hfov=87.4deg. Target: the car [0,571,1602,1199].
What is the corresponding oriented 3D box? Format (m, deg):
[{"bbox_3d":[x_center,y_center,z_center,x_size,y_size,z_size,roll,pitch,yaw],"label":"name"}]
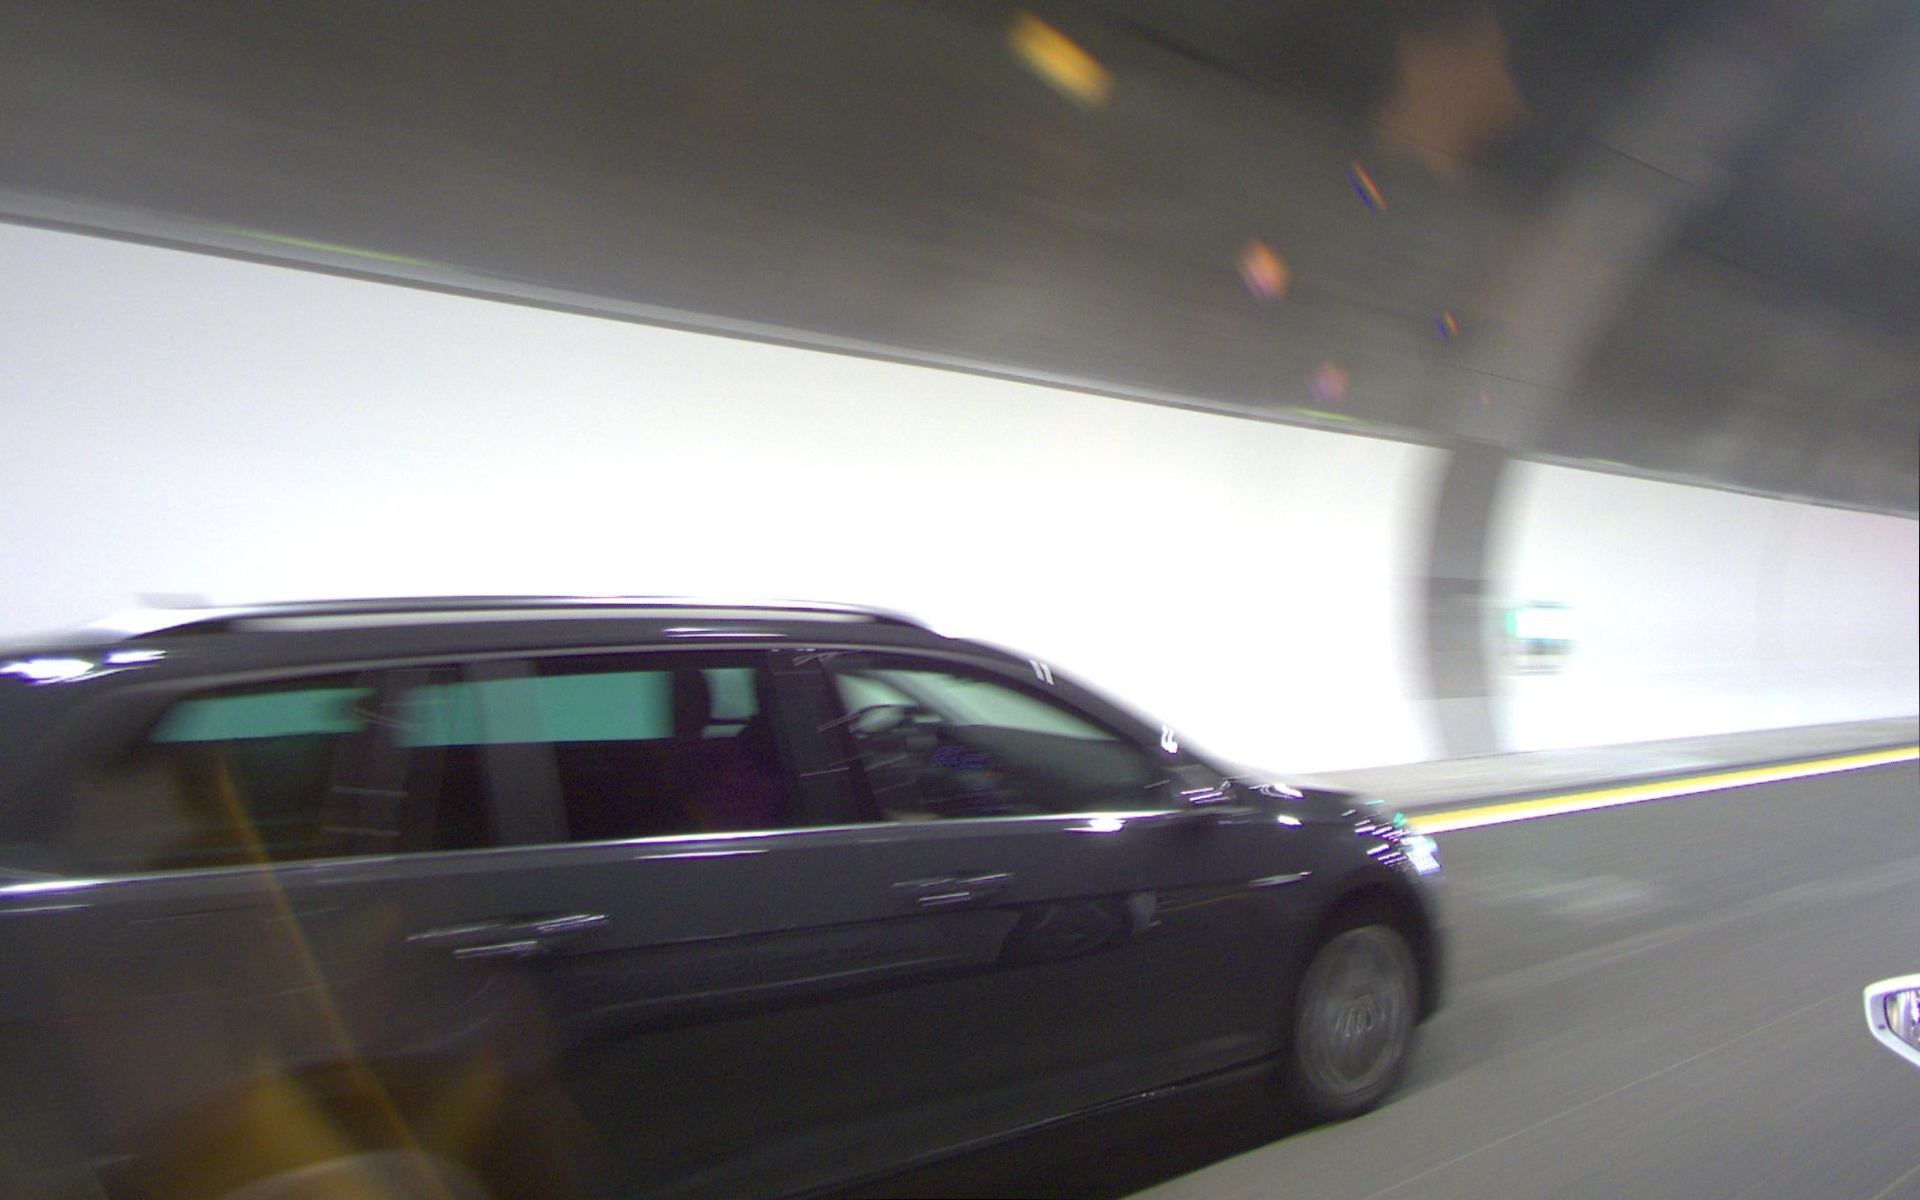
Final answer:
[{"bbox_3d":[-0.294,0.715,3.011,4.826,1.457,1.769,1,0,-31],"label":"car"}]
